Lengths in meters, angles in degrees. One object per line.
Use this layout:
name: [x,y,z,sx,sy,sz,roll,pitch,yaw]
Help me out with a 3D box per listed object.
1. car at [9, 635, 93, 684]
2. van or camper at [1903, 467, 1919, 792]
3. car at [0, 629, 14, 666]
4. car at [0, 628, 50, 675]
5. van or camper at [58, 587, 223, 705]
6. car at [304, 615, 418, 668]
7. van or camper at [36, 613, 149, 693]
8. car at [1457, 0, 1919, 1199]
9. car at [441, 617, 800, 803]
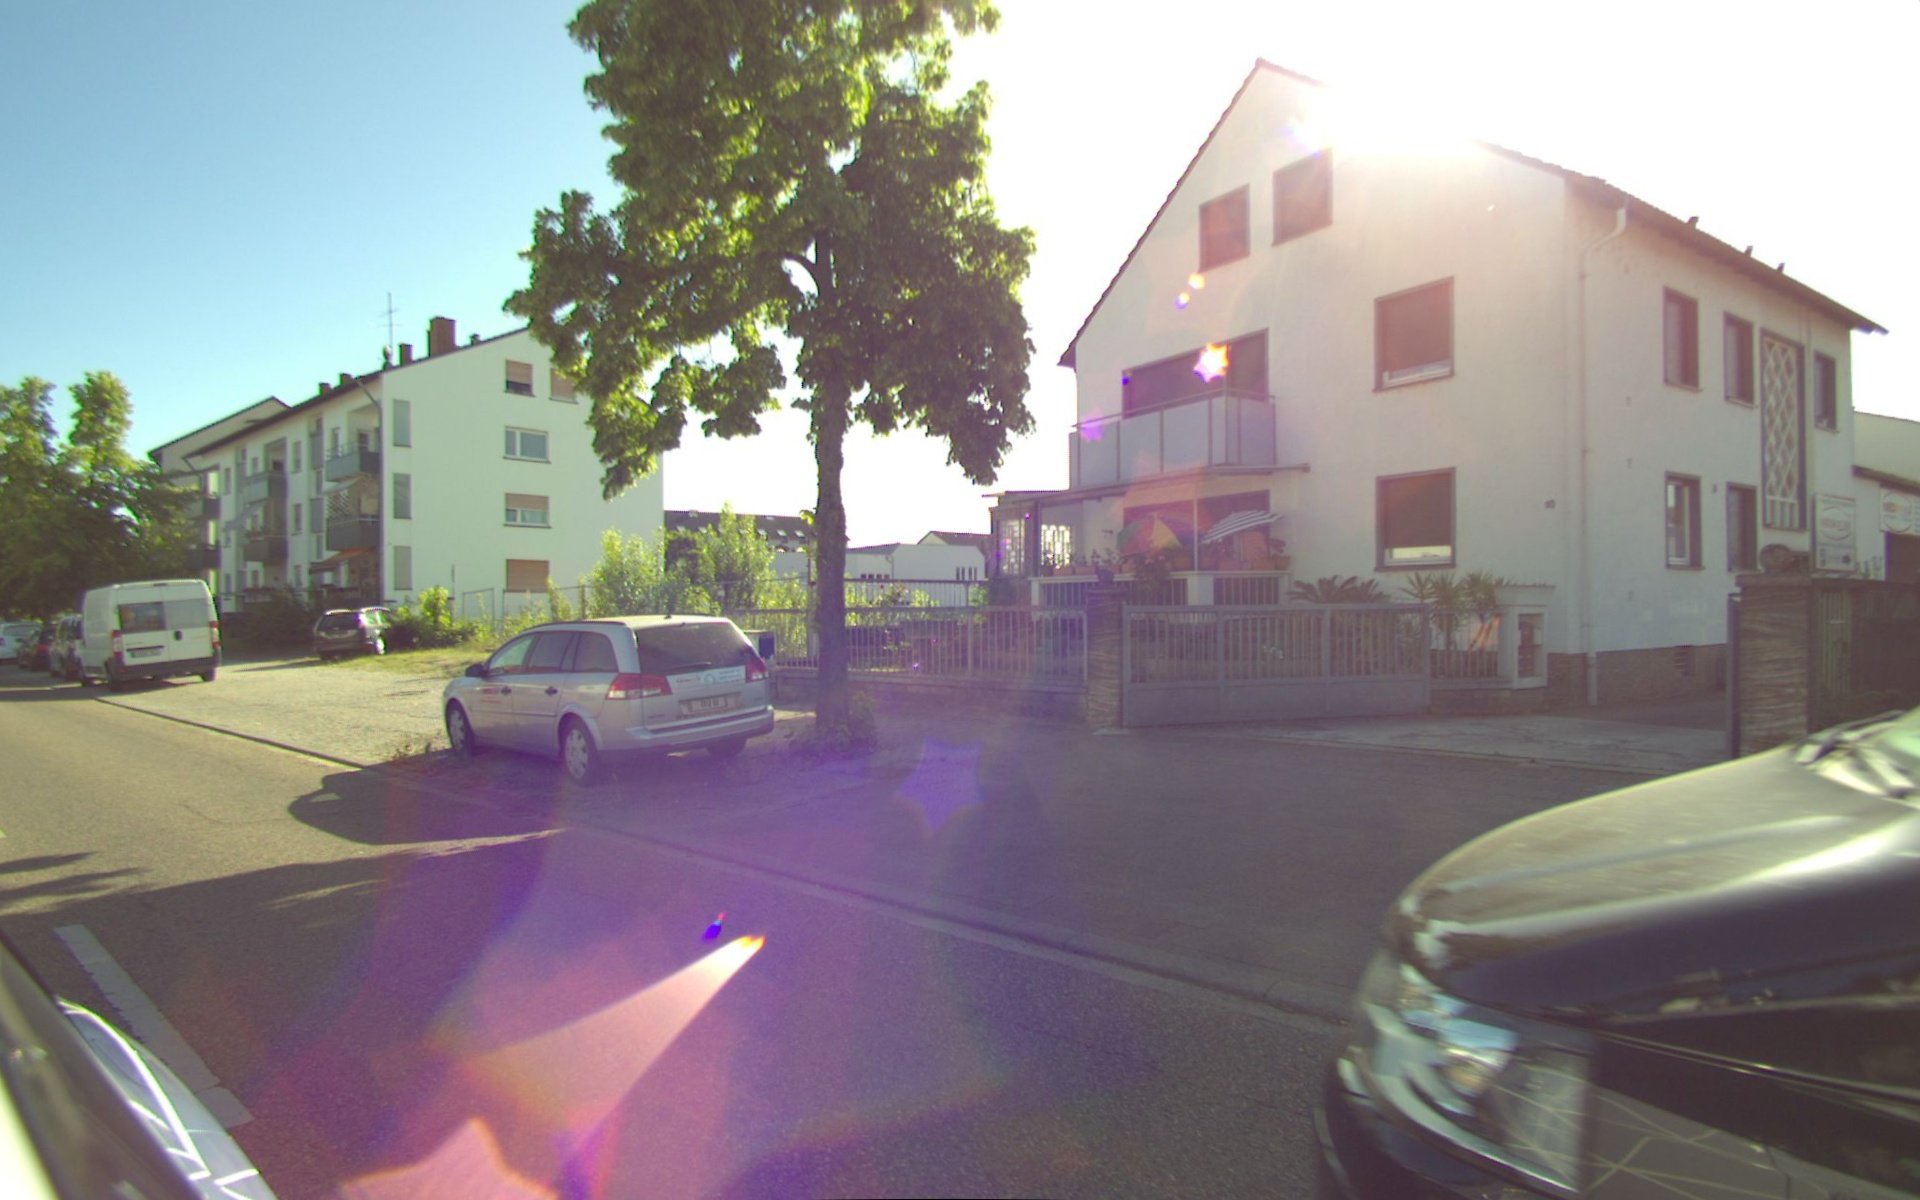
car: [-30.108,1.915,33.484,4.312,1.446,1.592,-2,0,42]
van or camper: [9.446,0.188,7.837,4.828,2.337,2.249,-1,0,-36]
car: [-44.429,2.195,46.033,3.909,1.604,1.703,-1,4,44]
car: [-35.278,1.909,37.739,3.908,1.577,1.674,-2,2,44]
van or camper: [-20.313,1.081,24.992,5.552,2.508,2.101,-2,2,41]
car: [-18.940,1.261,32.199,1.589,1.525,4.396,-1,-1,-9]
van or camper: [-24.755,1.454,28.830,4.278,2.028,1.858,-2,1,42]
car: [2.967,0.443,0.217,4.816,2.047,1.874,-1,-3,42]
car: [-3.618,0.956,10.353,4.209,1.446,1.668,-2,1,43]
